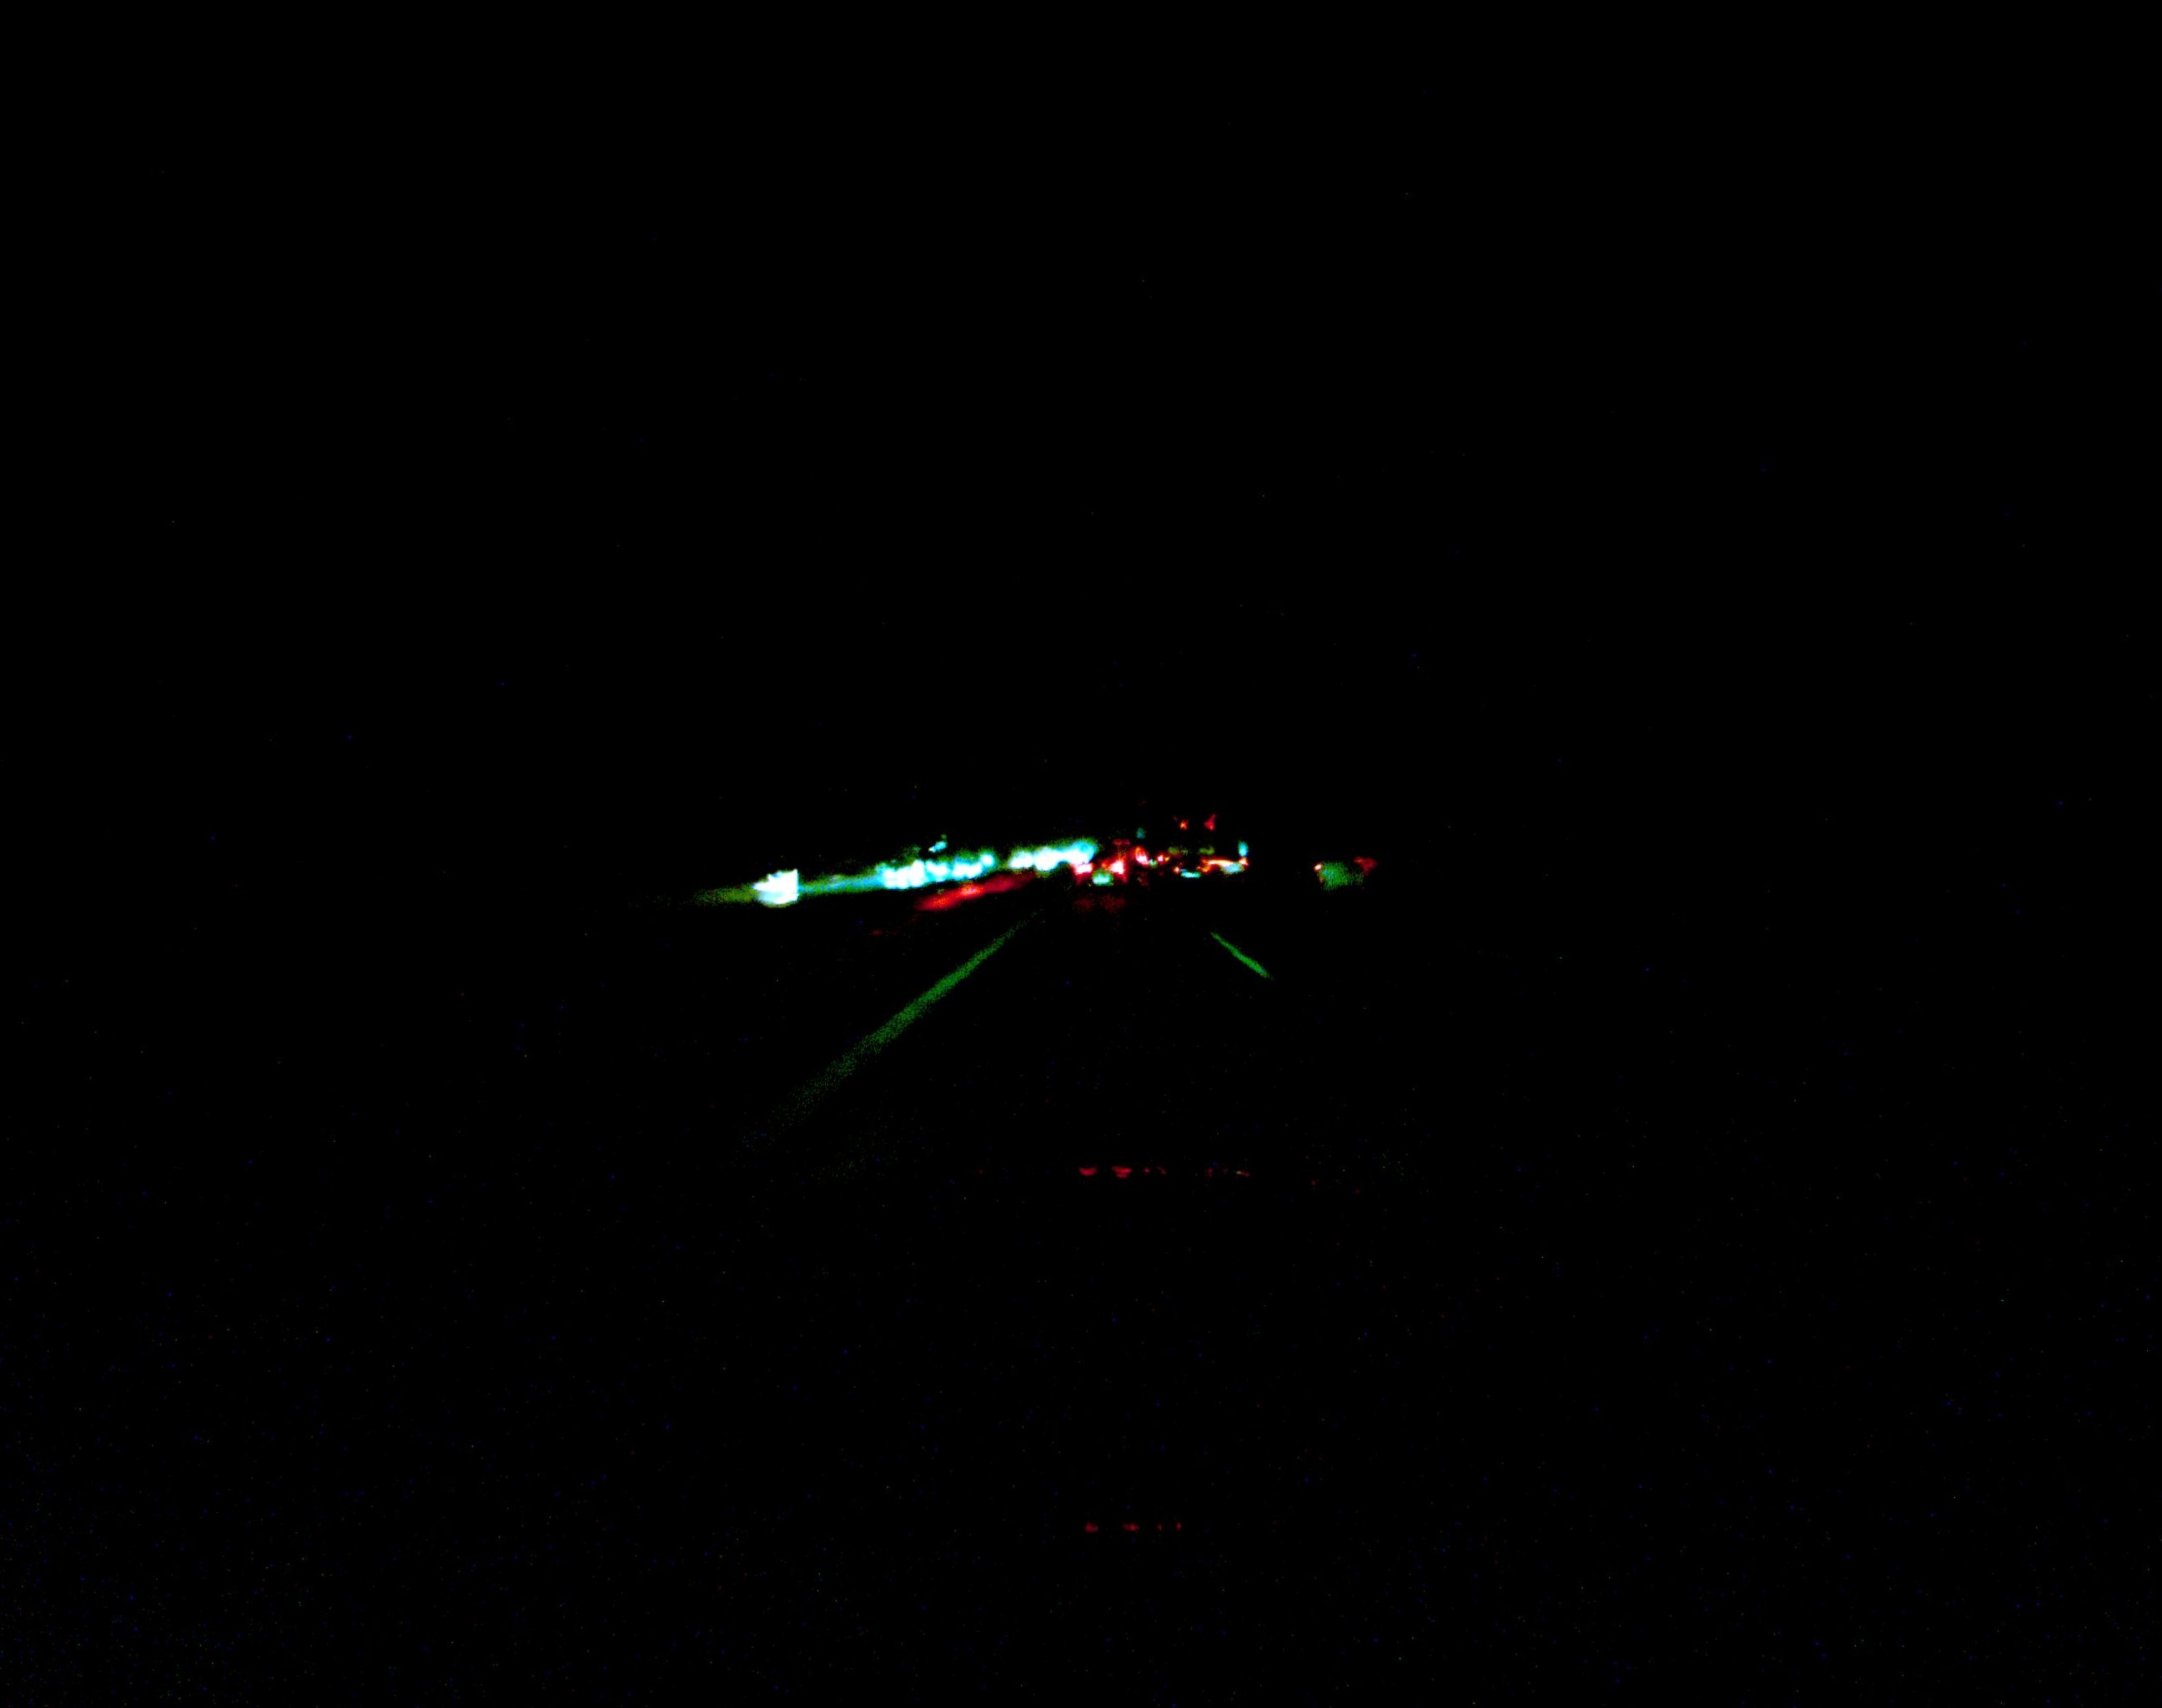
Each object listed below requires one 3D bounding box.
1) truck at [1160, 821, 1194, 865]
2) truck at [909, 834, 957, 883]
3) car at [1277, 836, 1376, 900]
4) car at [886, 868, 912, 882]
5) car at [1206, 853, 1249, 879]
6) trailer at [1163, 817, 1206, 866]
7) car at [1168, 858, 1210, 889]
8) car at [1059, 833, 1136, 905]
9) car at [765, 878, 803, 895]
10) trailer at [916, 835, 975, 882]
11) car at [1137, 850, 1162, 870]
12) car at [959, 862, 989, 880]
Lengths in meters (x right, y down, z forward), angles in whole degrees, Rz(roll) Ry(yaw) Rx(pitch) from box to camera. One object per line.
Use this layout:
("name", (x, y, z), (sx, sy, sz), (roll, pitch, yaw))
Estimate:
("truck", (9.691, -1.073, 83.071), (2.793, 4.267, 7.451), (-1, 0, 2))
("truck", (-14.098, 0.419, 78.014), (3.043, 4.293, 6.086), (-3, 0, 2))
("car", (8.588, 0.430, 29.024), (2.038, 1.974, 5.411), (-3, 0, 3))
("car", (-18.109, 2.078, 81.180), (1.604, 1.230, 3.683), (-3, 0, 2))
("car", (9.136, 0.729, 51.190), (1.887, 1.486, 4.963), (0, 0, 1))
("trailer", (9.510, -1.067, 75.818), (2.793, 4.212, 12.101), (-1, 0, 2))
("car", (5.206, 0.912, 39.603), (1.607, 1.412, 3.792), (-1, 0, 1))
("car", (0.641, 0.531, 33.014), (2.701, 2.534, 5.831), (-3, 0, 0))
("car", (-22.329, 2.434, 61.270), (1.404, 1.126, 3.543), (-3, 0, 2))
("trailer", (-13.889, 0.400, 84.785), (3.036, 4.293, 14.415), (-3, 0, 2))
("car", (5.852, 0.497, 69.696), (1.877, 1.588, 4.002), (-1, 0, 2))
("car", (-9.483, 1.497, 72.341), (1.986, 1.420, 4.002), (-3, 0, 2))
